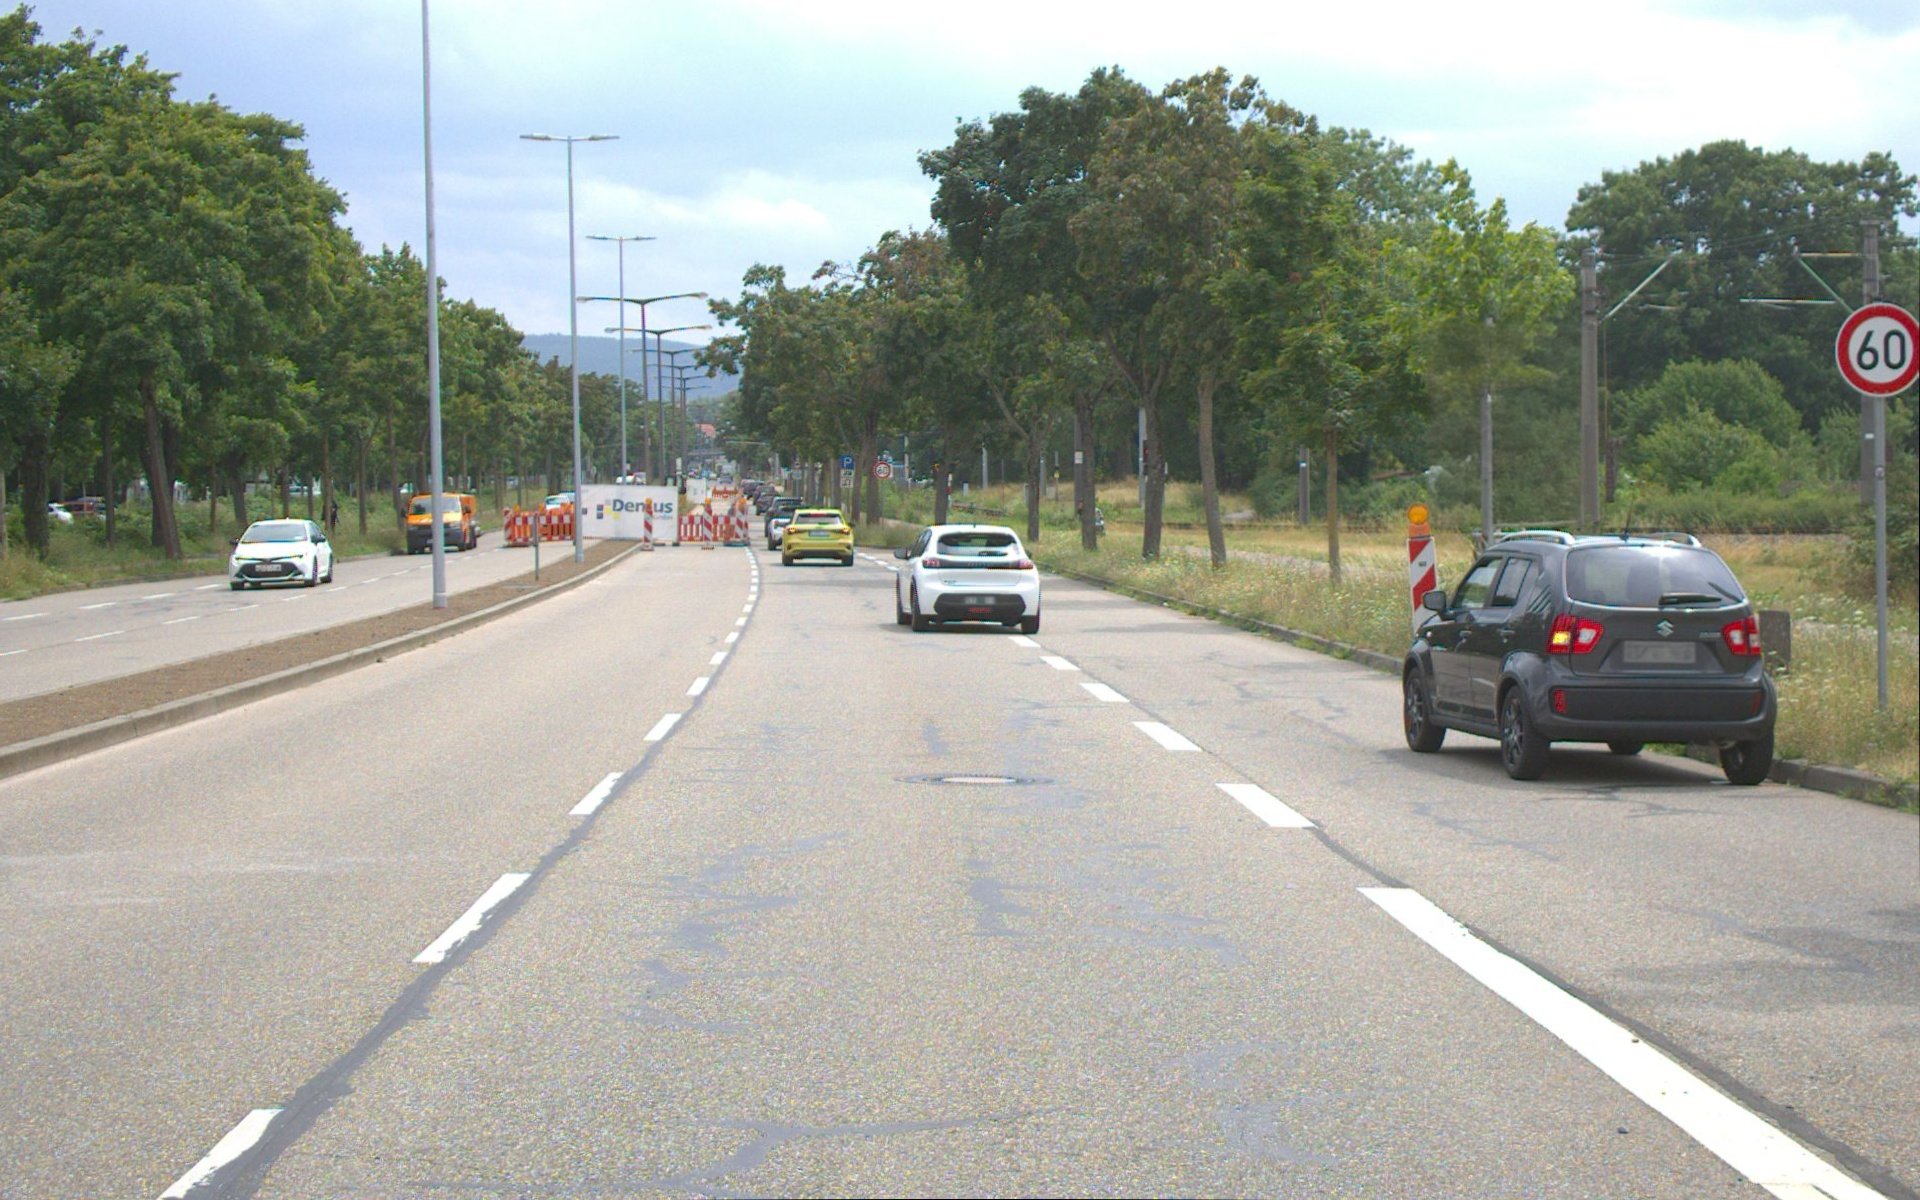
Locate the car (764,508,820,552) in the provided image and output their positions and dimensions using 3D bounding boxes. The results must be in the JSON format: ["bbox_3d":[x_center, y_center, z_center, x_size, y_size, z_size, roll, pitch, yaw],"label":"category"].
[{"bbox_3d":[-5.197,-2.174,106.646,1.667,1.265,4.001,0,3,-2],"label":"car"}]

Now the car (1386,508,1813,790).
[{"bbox_3d":[4.173,0.252,23.091,1.703,1.662,4.001,1,2,-6],"label":"car"}]

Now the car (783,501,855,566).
[{"bbox_3d":[-3.579,-1.715,87.680,1.793,1.556,4.001,0,3,-2],"label":"car"}]

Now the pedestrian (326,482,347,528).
[{"bbox_3d":[-25.074,-3.825,138.223,0.690,1.832,0.651,-1,3,-24],"label":"pedestrian"}]

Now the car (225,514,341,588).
[{"bbox_3d":[-14.490,-1.074,73.748,1.716,1.415,4.161,-2,3,-2],"label":"car"}]

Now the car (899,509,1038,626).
[{"bbox_3d":[0.079,-0.484,47.258,1.766,1.459,4.001,0,3,-2],"label":"car"}]

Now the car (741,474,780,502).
[{"bbox_3d":[-12.374,-6.931,213.374,2.206,1.678,4.001,0,3,-1],"label":"car"}]

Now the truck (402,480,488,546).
[{"bbox_3d":[-17.070,-2.918,114.177,2.088,1.987,6.040,-2,3,-2],"label":"truck"}]
